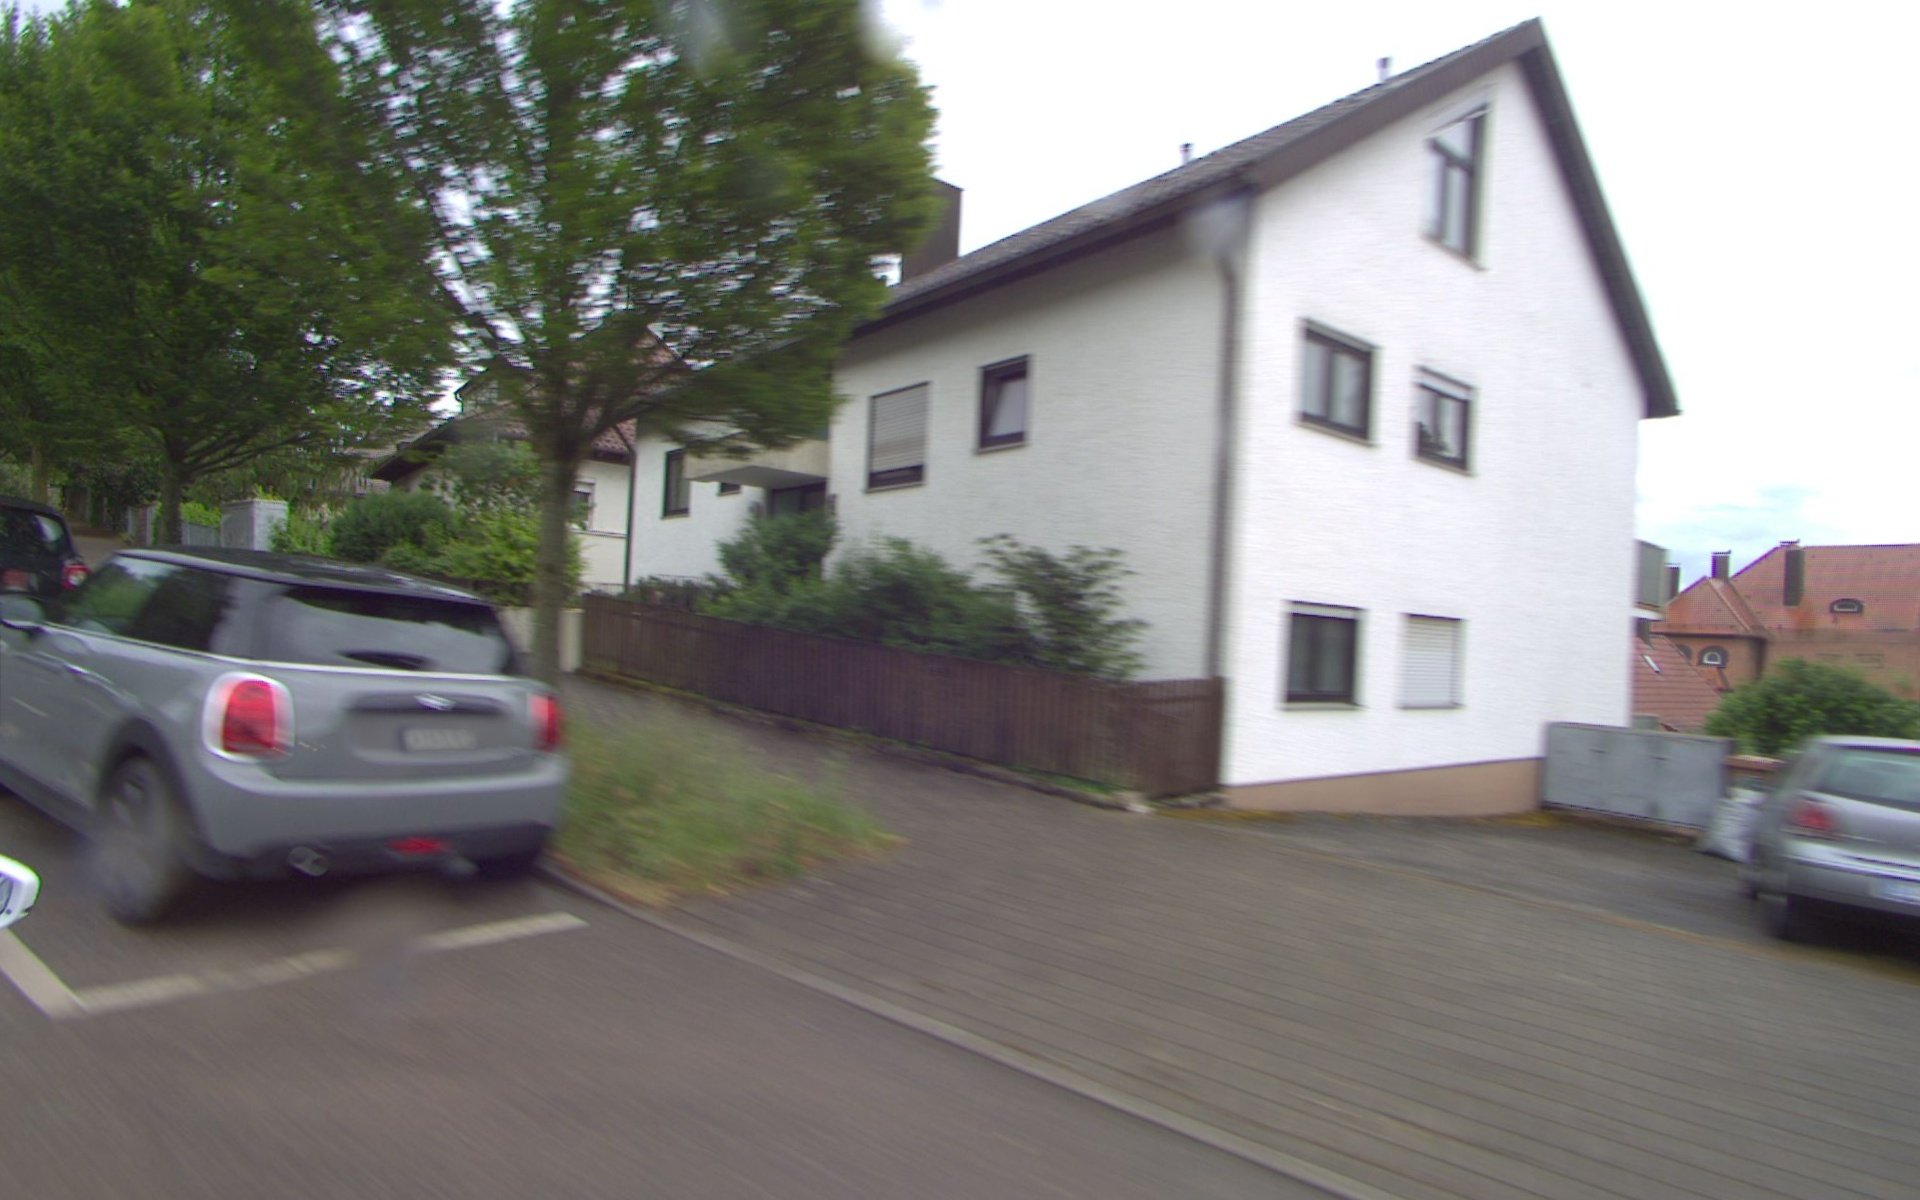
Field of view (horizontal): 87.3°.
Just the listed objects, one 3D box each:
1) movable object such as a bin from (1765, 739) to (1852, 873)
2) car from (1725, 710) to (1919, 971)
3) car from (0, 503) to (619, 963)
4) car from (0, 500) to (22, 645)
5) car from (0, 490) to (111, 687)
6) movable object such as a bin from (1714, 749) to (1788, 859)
[{"bbox_3d":[9.565,2.297,11.344,0.617,1.365,0.552,6,1,-41],"label":"movable object such as a bin"},{"bbox_3d":[7.030,1.768,7.574,1.751,1.481,3.687,5,-4,35],"label":"car"},{"bbox_3d":[-3.685,0.431,5.182,3.651,1.488,1.671,6,-2,35],"label":"car"},{"bbox_3d":[-12.211,-0.542,11.324,3.939,1.537,1.655,7,-1,37],"label":"car"},{"bbox_3d":[-9.094,-0.248,8.915,2.976,1.581,1.627,7,-1,36],"label":"car"},{"bbox_3d":[9.219,2.357,11.730,0.617,1.158,0.477,6,1,-41],"label":"movable object such as a bin"}]
